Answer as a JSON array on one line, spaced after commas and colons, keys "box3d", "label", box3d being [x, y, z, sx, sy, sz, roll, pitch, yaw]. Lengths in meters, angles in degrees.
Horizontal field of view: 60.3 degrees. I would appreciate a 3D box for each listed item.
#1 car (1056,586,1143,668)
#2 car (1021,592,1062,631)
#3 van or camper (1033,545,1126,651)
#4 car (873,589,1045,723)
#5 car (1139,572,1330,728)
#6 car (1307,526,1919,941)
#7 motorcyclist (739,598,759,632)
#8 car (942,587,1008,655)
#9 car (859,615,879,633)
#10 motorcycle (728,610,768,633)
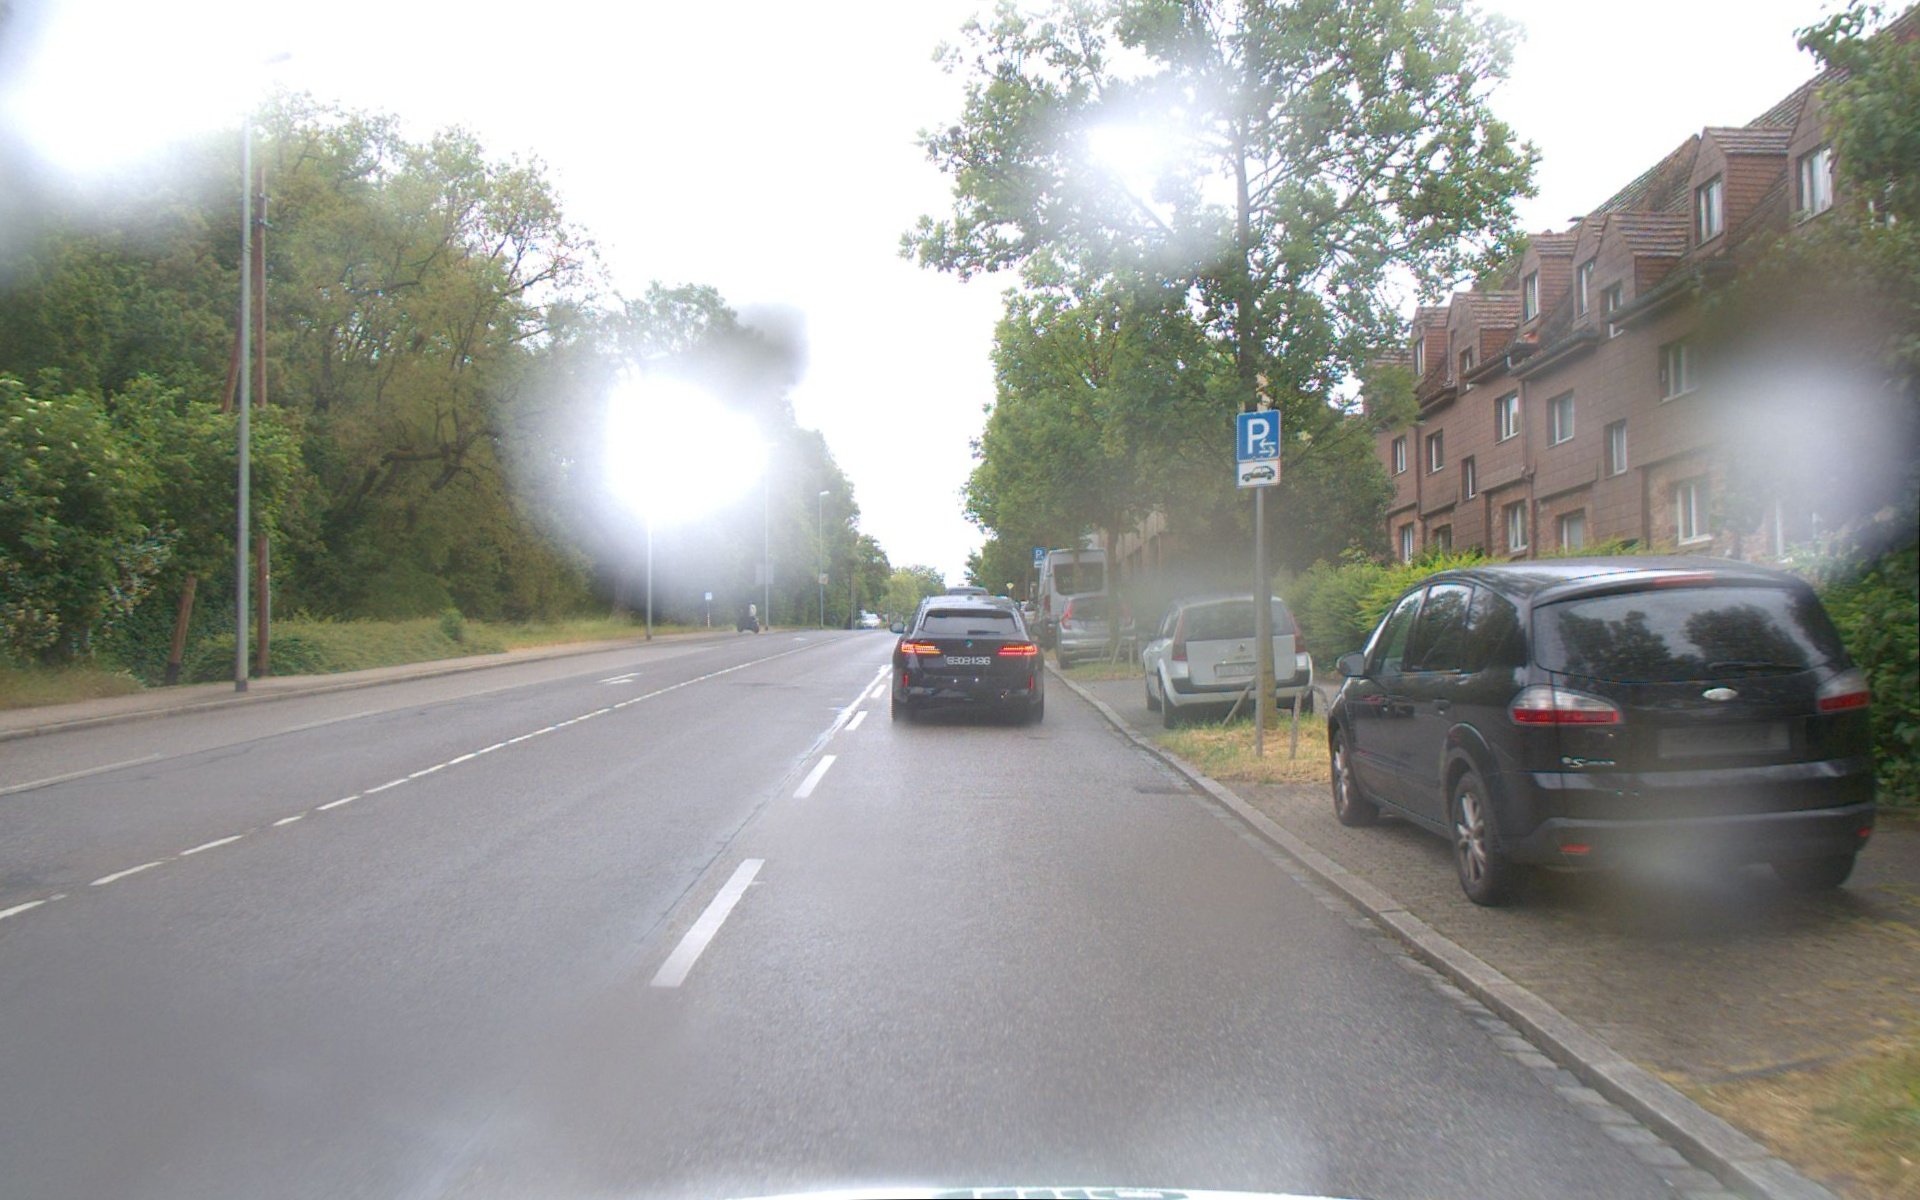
[{"box3d": [2.941, 0.549, 35.459, 1.634, 1.555, 3.833, -3, 0, 3], "label": "car"}, {"box3d": [3.662, 0.493, 75.037, 1.667, 1.611, 4.643, -4, 0, 2], "label": "car"}, {"box3d": [3.301, -0.072, 47.042, 2.152, 2.697, 7.302, -2, 0, 1], "label": "van or camper"}, {"box3d": [-0.031, 0.672, 21.272, 1.953, 1.478, 3.999, 2, -1, -1], "label": "car"}, {"box3d": [3.231, 0.532, 20.286, 1.786, 1.630, 4.475, -2, 0, 3], "label": "car"}, {"box3d": [3.378, 0.558, 9.370, 1.787, 1.707, 4.584, -2, 0, 0], "label": "car"}, {"box3d": [-10.815, 0.781, 84.805, 0.640, 1.710, 0.808, 1, 0, 42], "label": "motorcyclist"}, {"box3d": [0.483, 0.650, 51.500, 1.952, 2.049, 4.000, 0, -1, 1], "label": "car"}, {"box3d": [-8.047, 2.121, 146.547, 1.655, 1.509, 4.450, -2, -1, -1], "label": "car"}, {"box3d": [-10.869, 1.081, 84.836, 2.150, 1.137, 0.819, 1, 0, 42], "label": "motorcycle"}]
